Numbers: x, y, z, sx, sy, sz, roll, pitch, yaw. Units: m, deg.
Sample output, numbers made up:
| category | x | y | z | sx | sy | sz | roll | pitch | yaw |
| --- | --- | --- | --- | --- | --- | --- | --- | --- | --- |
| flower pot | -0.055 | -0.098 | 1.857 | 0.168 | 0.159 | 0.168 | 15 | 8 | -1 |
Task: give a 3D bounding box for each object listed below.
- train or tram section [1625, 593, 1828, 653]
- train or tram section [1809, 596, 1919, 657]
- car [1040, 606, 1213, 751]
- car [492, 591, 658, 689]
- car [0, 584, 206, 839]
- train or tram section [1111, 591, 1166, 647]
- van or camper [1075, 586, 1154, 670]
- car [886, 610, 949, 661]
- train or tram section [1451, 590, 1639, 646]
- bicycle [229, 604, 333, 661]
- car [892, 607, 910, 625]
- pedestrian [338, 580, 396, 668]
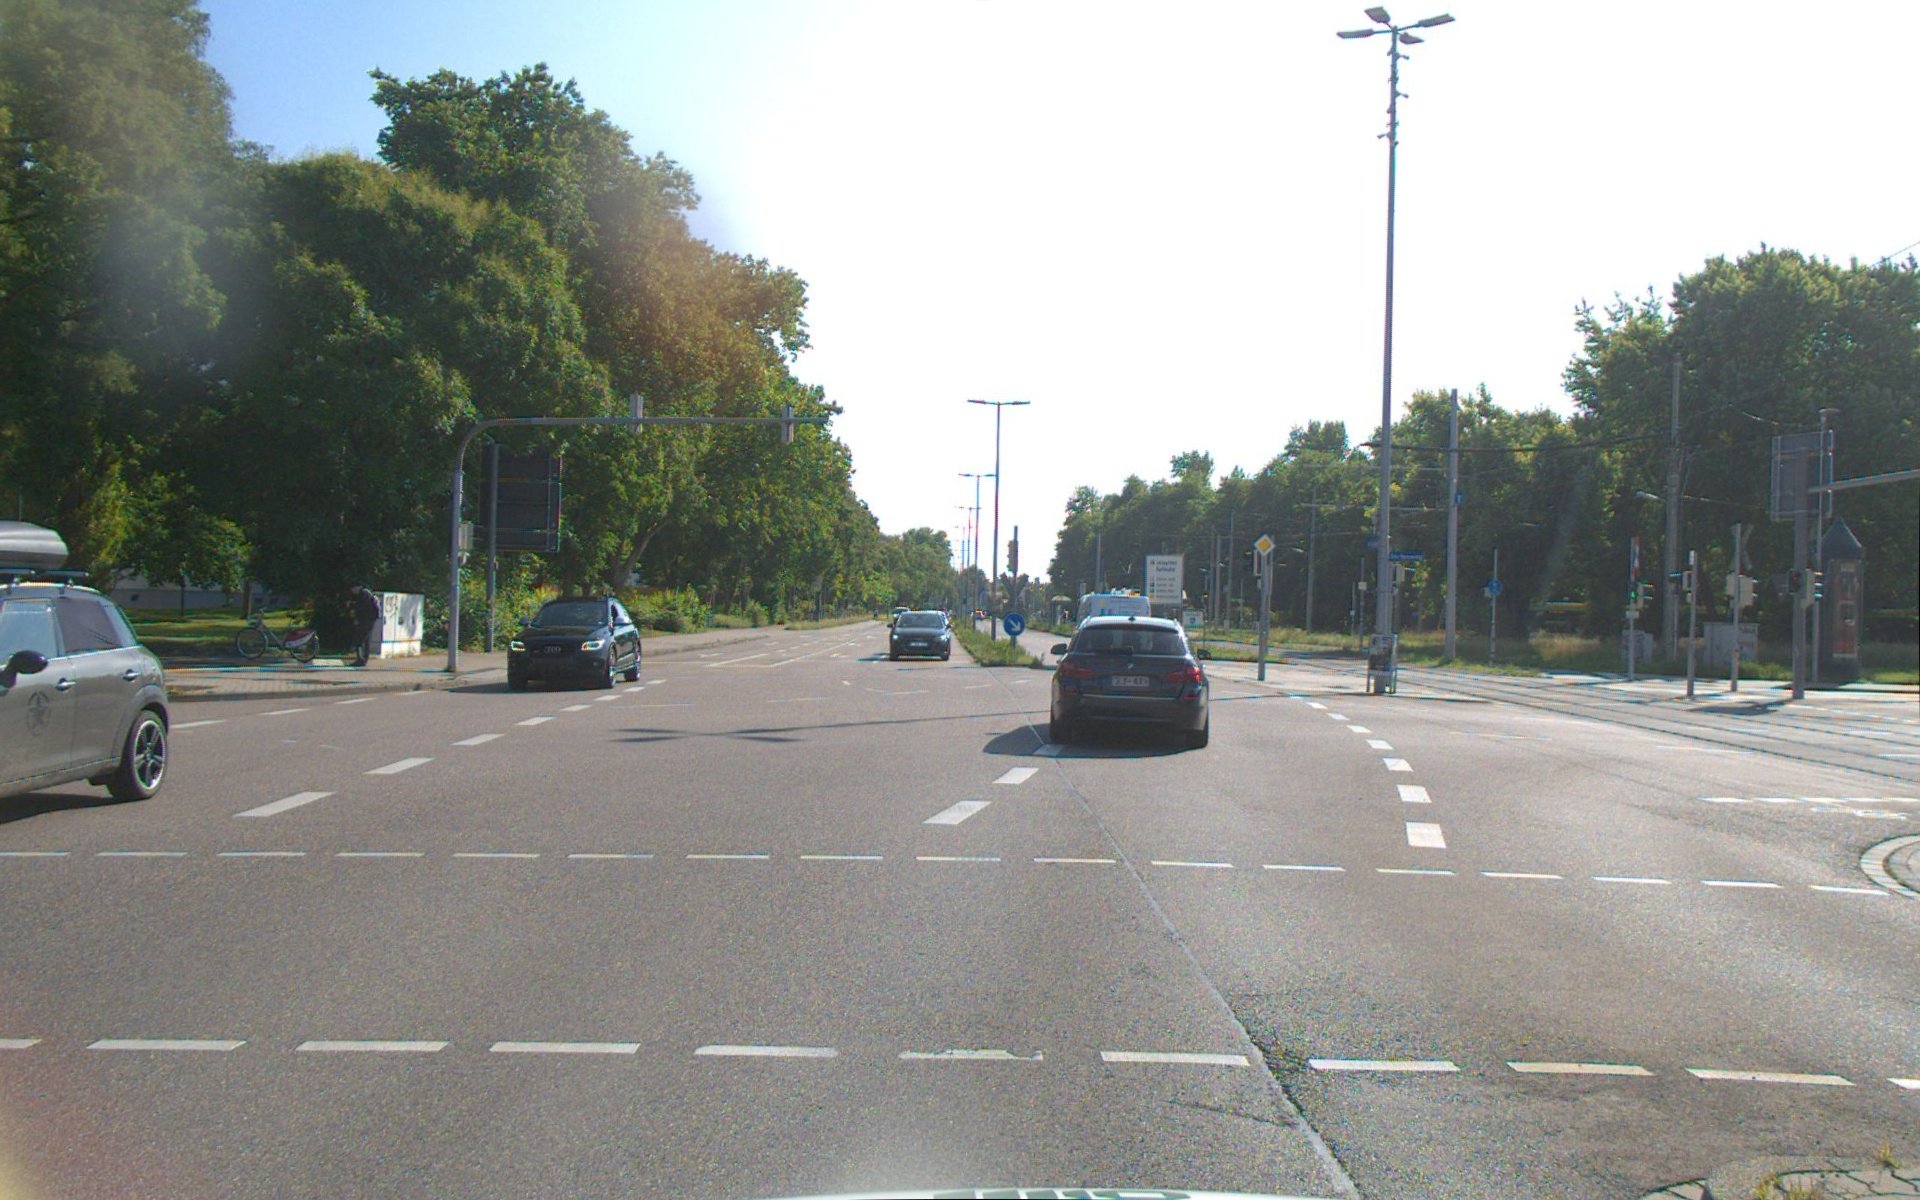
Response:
| category | x | y | z | sx | sy | sz | roll | pitch | yaw |
| --- | --- | --- | --- | --- | --- | --- | --- | --- | --- |
| train or tram section | 51.108 | 1.495 | 110.506 | 11.979 | 3.642 | 3.044 | 1 | -1 | 34 |
| train or tram section | 58.965 | 1.668 | 101.612 | 3.019 | 3.642 | 12.080 | 2 | 0 | -35 |
| car | 1.993 | 0.873 | 20.195 | 1.863 | 1.532 | 4.067 | 1 | 0 | 5 |
| car | -7.172 | 0.716 | 31.250 | 1.948 | 1.688 | 4.385 | 1 | 0 | 2 |
| car | -6.748 | 0.671 | 11.033 | 1.753 | 1.547 | 3.997 | 1 | 0 | -3 |
| train or tram section | 12.648 | 1.376 | 118.049 | 2.738 | 3.682 | 12.957 | 2 | -1 | 2 |
| van or camper | 4.171 | 0.743 | 45.323 | 1.952 | 2.133 | 4.600 | 1 | 0 | 3 |
| car | -1.231 | 1.036 | 49.985 | 1.792 | 1.456 | 4.730 | 0 | 0 | 0 |
| train or tram section | 41.194 | 1.239 | 116.771 | 12.166 | 3.642 | 3.048 | 1 | -1 | 29 |
| bicycle | -14.211 | 0.683 | 34.658 | 1.871 | 1.138 | 0.632 | 1 | -1 | -2 |
| car | -6.176 | 1.699 | 172.897 | 1.752 | 1.803 | 4.569 | 1 | 0 | 0 |
| pedestrian | -12.361 | 0.503 | 34.503 | 0.799 | 1.782 | 0.932 | 2 | 0 | 3 |
